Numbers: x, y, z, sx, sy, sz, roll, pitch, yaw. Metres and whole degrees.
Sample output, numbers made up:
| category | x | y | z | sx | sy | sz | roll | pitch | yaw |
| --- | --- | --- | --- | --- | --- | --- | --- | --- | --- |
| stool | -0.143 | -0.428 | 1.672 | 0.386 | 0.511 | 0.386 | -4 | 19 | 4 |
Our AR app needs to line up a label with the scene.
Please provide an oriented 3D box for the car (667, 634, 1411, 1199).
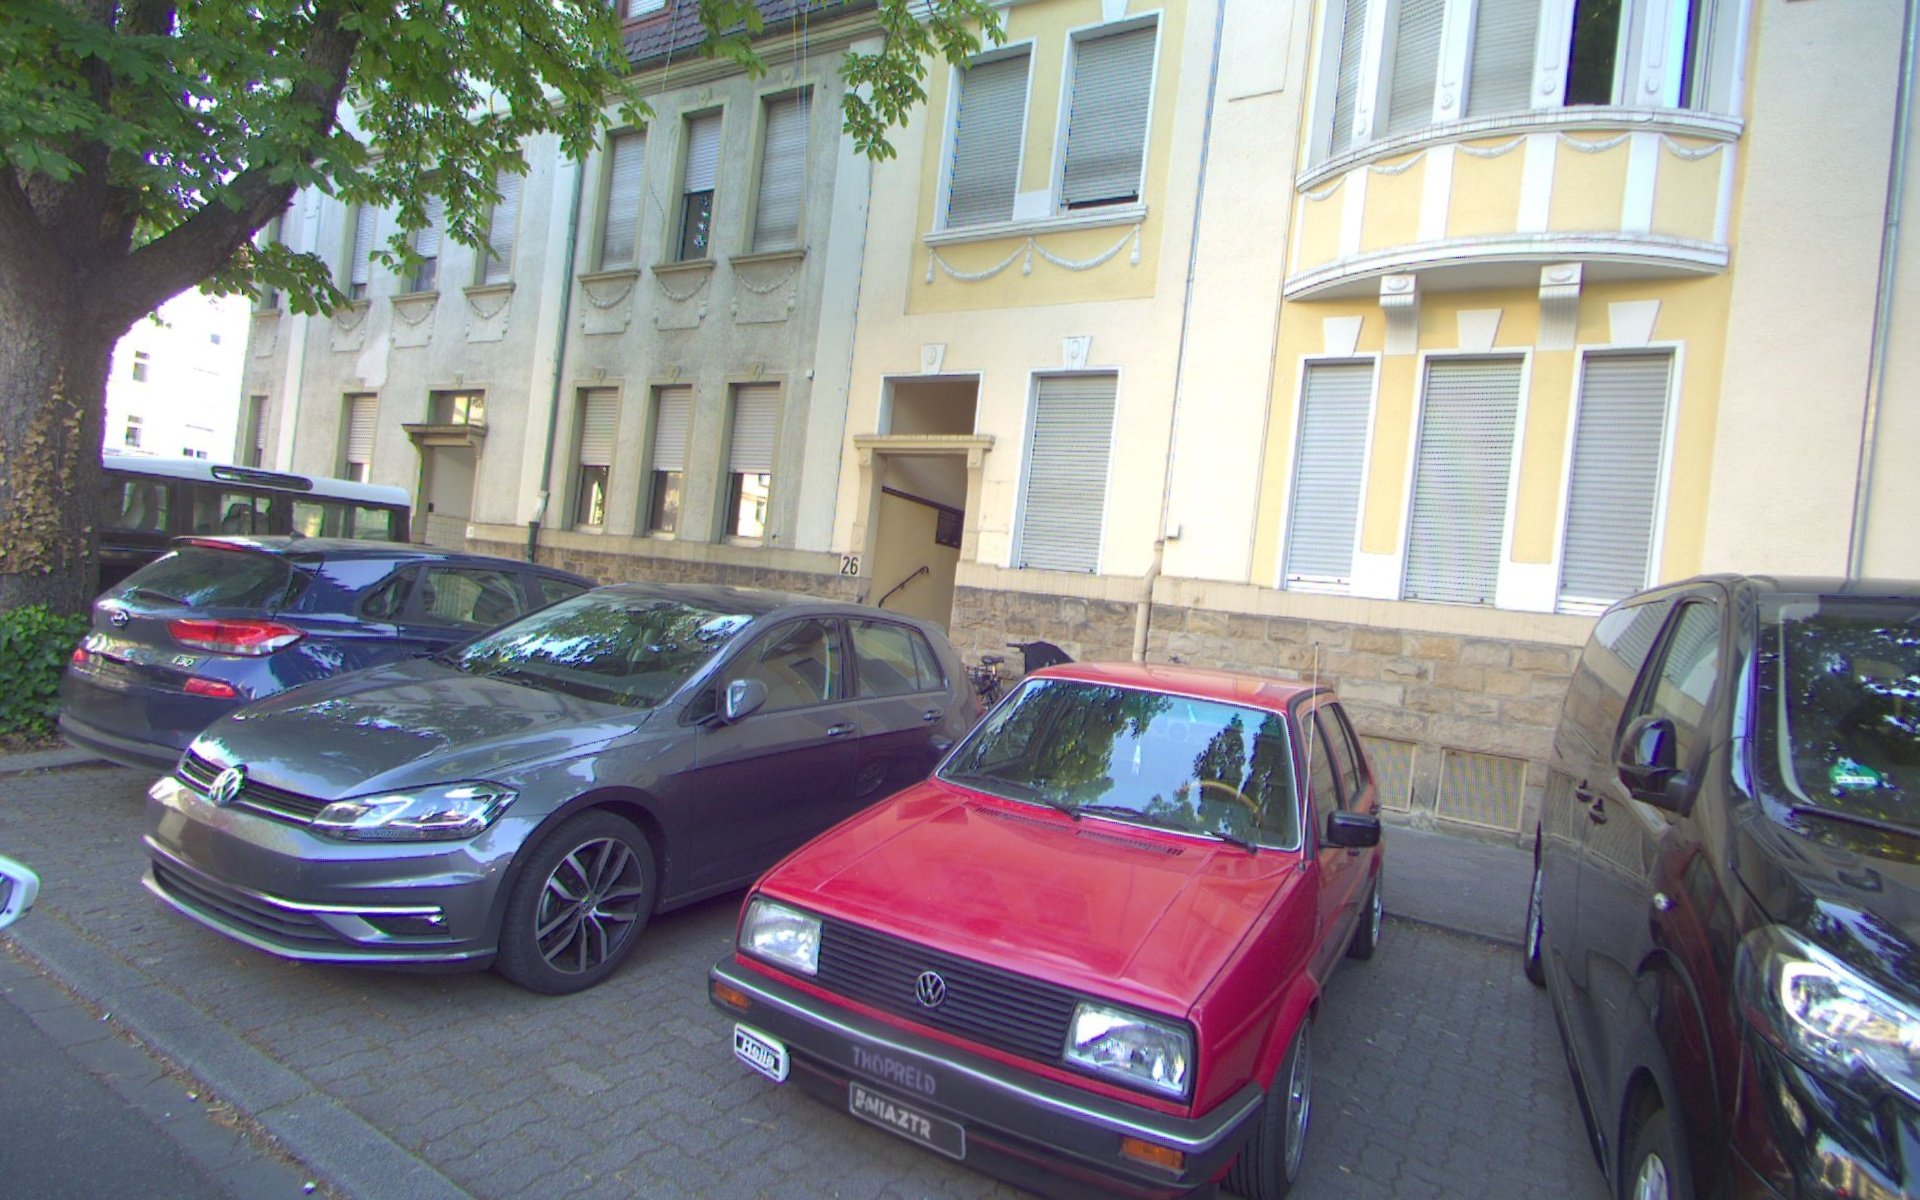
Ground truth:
| category | x | y | z | sx | sy | sz | roll | pitch | yaw |
| --- | --- | --- | --- | --- | --- | --- | --- | --- | --- |
| car | 0.878 | 0.949 | 4.302 | 1.601 | 1.332 | 4.144 | 6 | 0 | 27 |

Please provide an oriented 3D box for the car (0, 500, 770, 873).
| category | x | y | z | sx | sy | sz | roll | pitch | yaw |
| --- | --- | --- | --- | --- | --- | --- | --- | --- | --- |
| car | -3.082 | 0.427 | 6.197 | 1.679 | 1.470 | 3.730 | 6 | 0 | 28 |

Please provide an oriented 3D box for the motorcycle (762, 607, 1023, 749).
| category | x | y | z | sx | sy | sz | roll | pitch | yaw |
| --- | --- | --- | --- | --- | --- | --- | --- | --- | --- |
| motorcycle | -0.786 | 0.774 | 10.782 | 2.822 | 1.087 | 0.694 | 7 | 2 | 31 |

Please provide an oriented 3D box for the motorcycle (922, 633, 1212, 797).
| category | x | y | z | sx | sy | sz | roll | pitch | yaw |
| --- | --- | --- | --- | --- | --- | --- | --- | --- | --- |
| motorcycle | 0.959 | 0.995 | 9.392 | 2.439 | 1.087 | 0.959 | 7 | 2 | 32 |

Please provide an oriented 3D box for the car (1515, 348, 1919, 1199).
| category | x | y | z | sx | sy | sz | roll | pitch | yaw |
| --- | --- | --- | --- | --- | --- | --- | --- | --- | --- |
| car | 2.855 | 0.874 | 2.875 | 1.864 | 1.898 | 4.759 | 6 | 0 | 27 |

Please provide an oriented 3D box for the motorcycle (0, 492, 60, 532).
| category | x | y | z | sx | sy | sz | roll | pitch | yaw |
| --- | --- | --- | --- | --- | --- | --- | --- | --- | --- |
| motorcycle | -41.586 | -3.901 | 44.851 | 0.558 | 1.469 | 2.037 | 7 | 0 | 28 |

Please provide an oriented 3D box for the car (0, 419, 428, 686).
| category | x | y | z | sx | sy | sz | roll | pitch | yaw |
| --- | --- | --- | --- | --- | --- | --- | --- | --- | --- |
| car | -7.589 | -0.368 | 9.234 | 1.671 | 2.061 | 4.473 | 6 | 0 | 28 |

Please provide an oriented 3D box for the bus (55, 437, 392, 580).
| category | x | y | z | sx | sy | sz | roll | pitch | yaw |
| --- | --- | --- | --- | --- | --- | --- | --- | --- | --- |
| bus | -23.130 | -2.712 | 32.307 | 2.859 | 3.240 | 8.199 | 7 | -1 | 24 |

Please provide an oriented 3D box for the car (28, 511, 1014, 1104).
| category | x | y | z | sx | sy | sz | roll | pitch | yaw |
| --- | --- | --- | --- | --- | --- | --- | --- | --- | --- |
| car | -1.429 | 0.625 | 4.814 | 1.693 | 1.470 | 4.060 | 6 | 0 | 28 |

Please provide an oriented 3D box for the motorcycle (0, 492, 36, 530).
| category | x | y | z | sx | sy | sz | roll | pitch | yaw |
| --- | --- | --- | --- | --- | --- | --- | --- | --- | --- |
| motorcycle | -41.185 | -3.907 | 43.221 | 0.558 | 1.469 | 2.037 | 7 | 0 | 28 |

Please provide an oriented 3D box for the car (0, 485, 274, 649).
| category | x | y | z | sx | sy | sz | roll | pitch | yaw |
| --- | --- | --- | --- | --- | --- | --- | --- | --- | --- |
| car | -9.983 | -0.387 | 10.935 | 1.679 | 1.589 | 3.730 | 6 | 0 | 28 |
